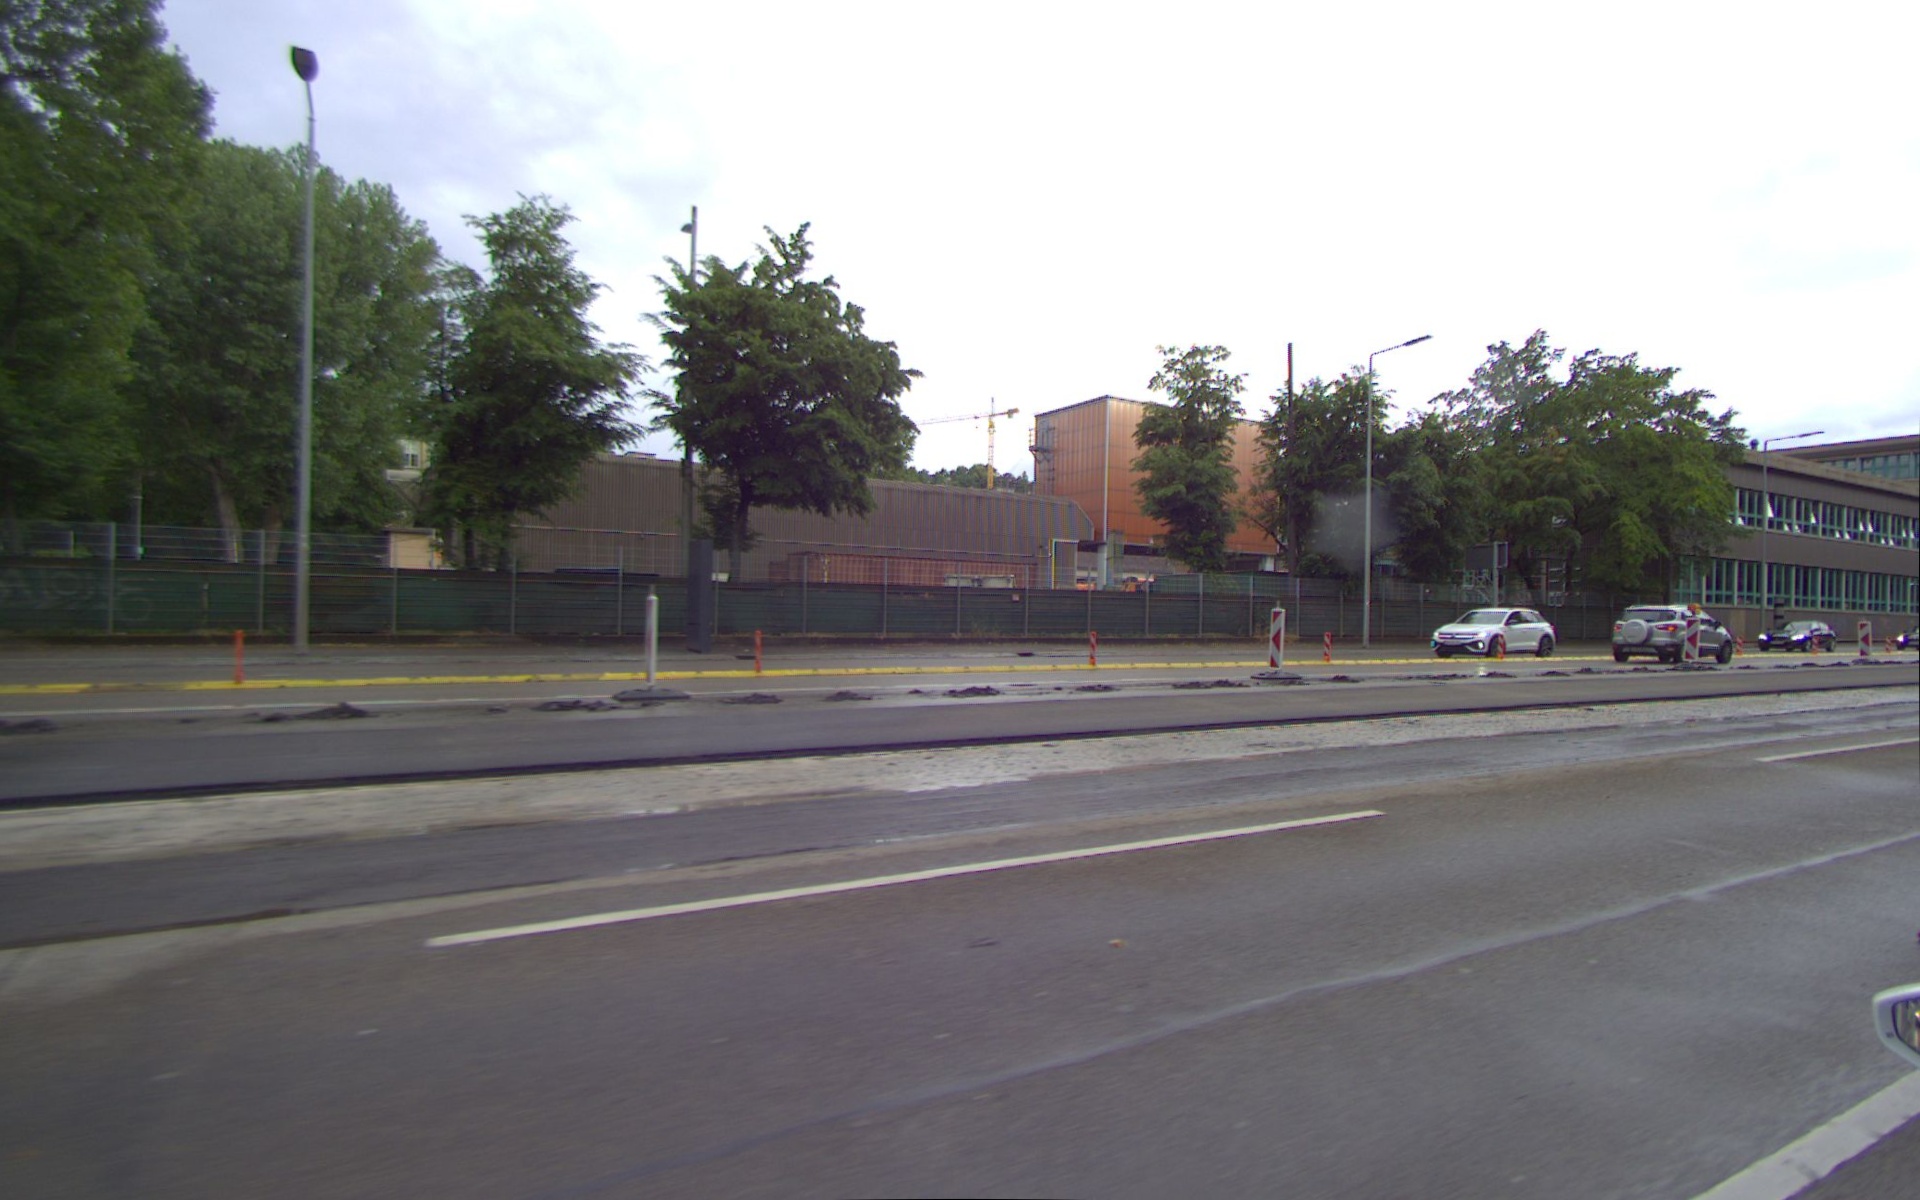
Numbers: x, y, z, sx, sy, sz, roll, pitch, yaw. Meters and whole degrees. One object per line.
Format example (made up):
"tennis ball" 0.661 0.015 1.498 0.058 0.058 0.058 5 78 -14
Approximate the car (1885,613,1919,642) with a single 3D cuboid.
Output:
"car" 52.593 1.524 54.658 4.709 1.474 2.036 1 1 -30

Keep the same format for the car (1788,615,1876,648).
"car" 41.344 1.467 47.596 4.217 1.448 1.983 1 1 -32

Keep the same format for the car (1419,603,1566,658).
"car" 15.964 0.878 30.095 4.216 1.533 1.984 1 1 -30

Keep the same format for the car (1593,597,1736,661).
"car" 20.065 0.800 28.594 3.953 1.670 1.845 1 1 -31
